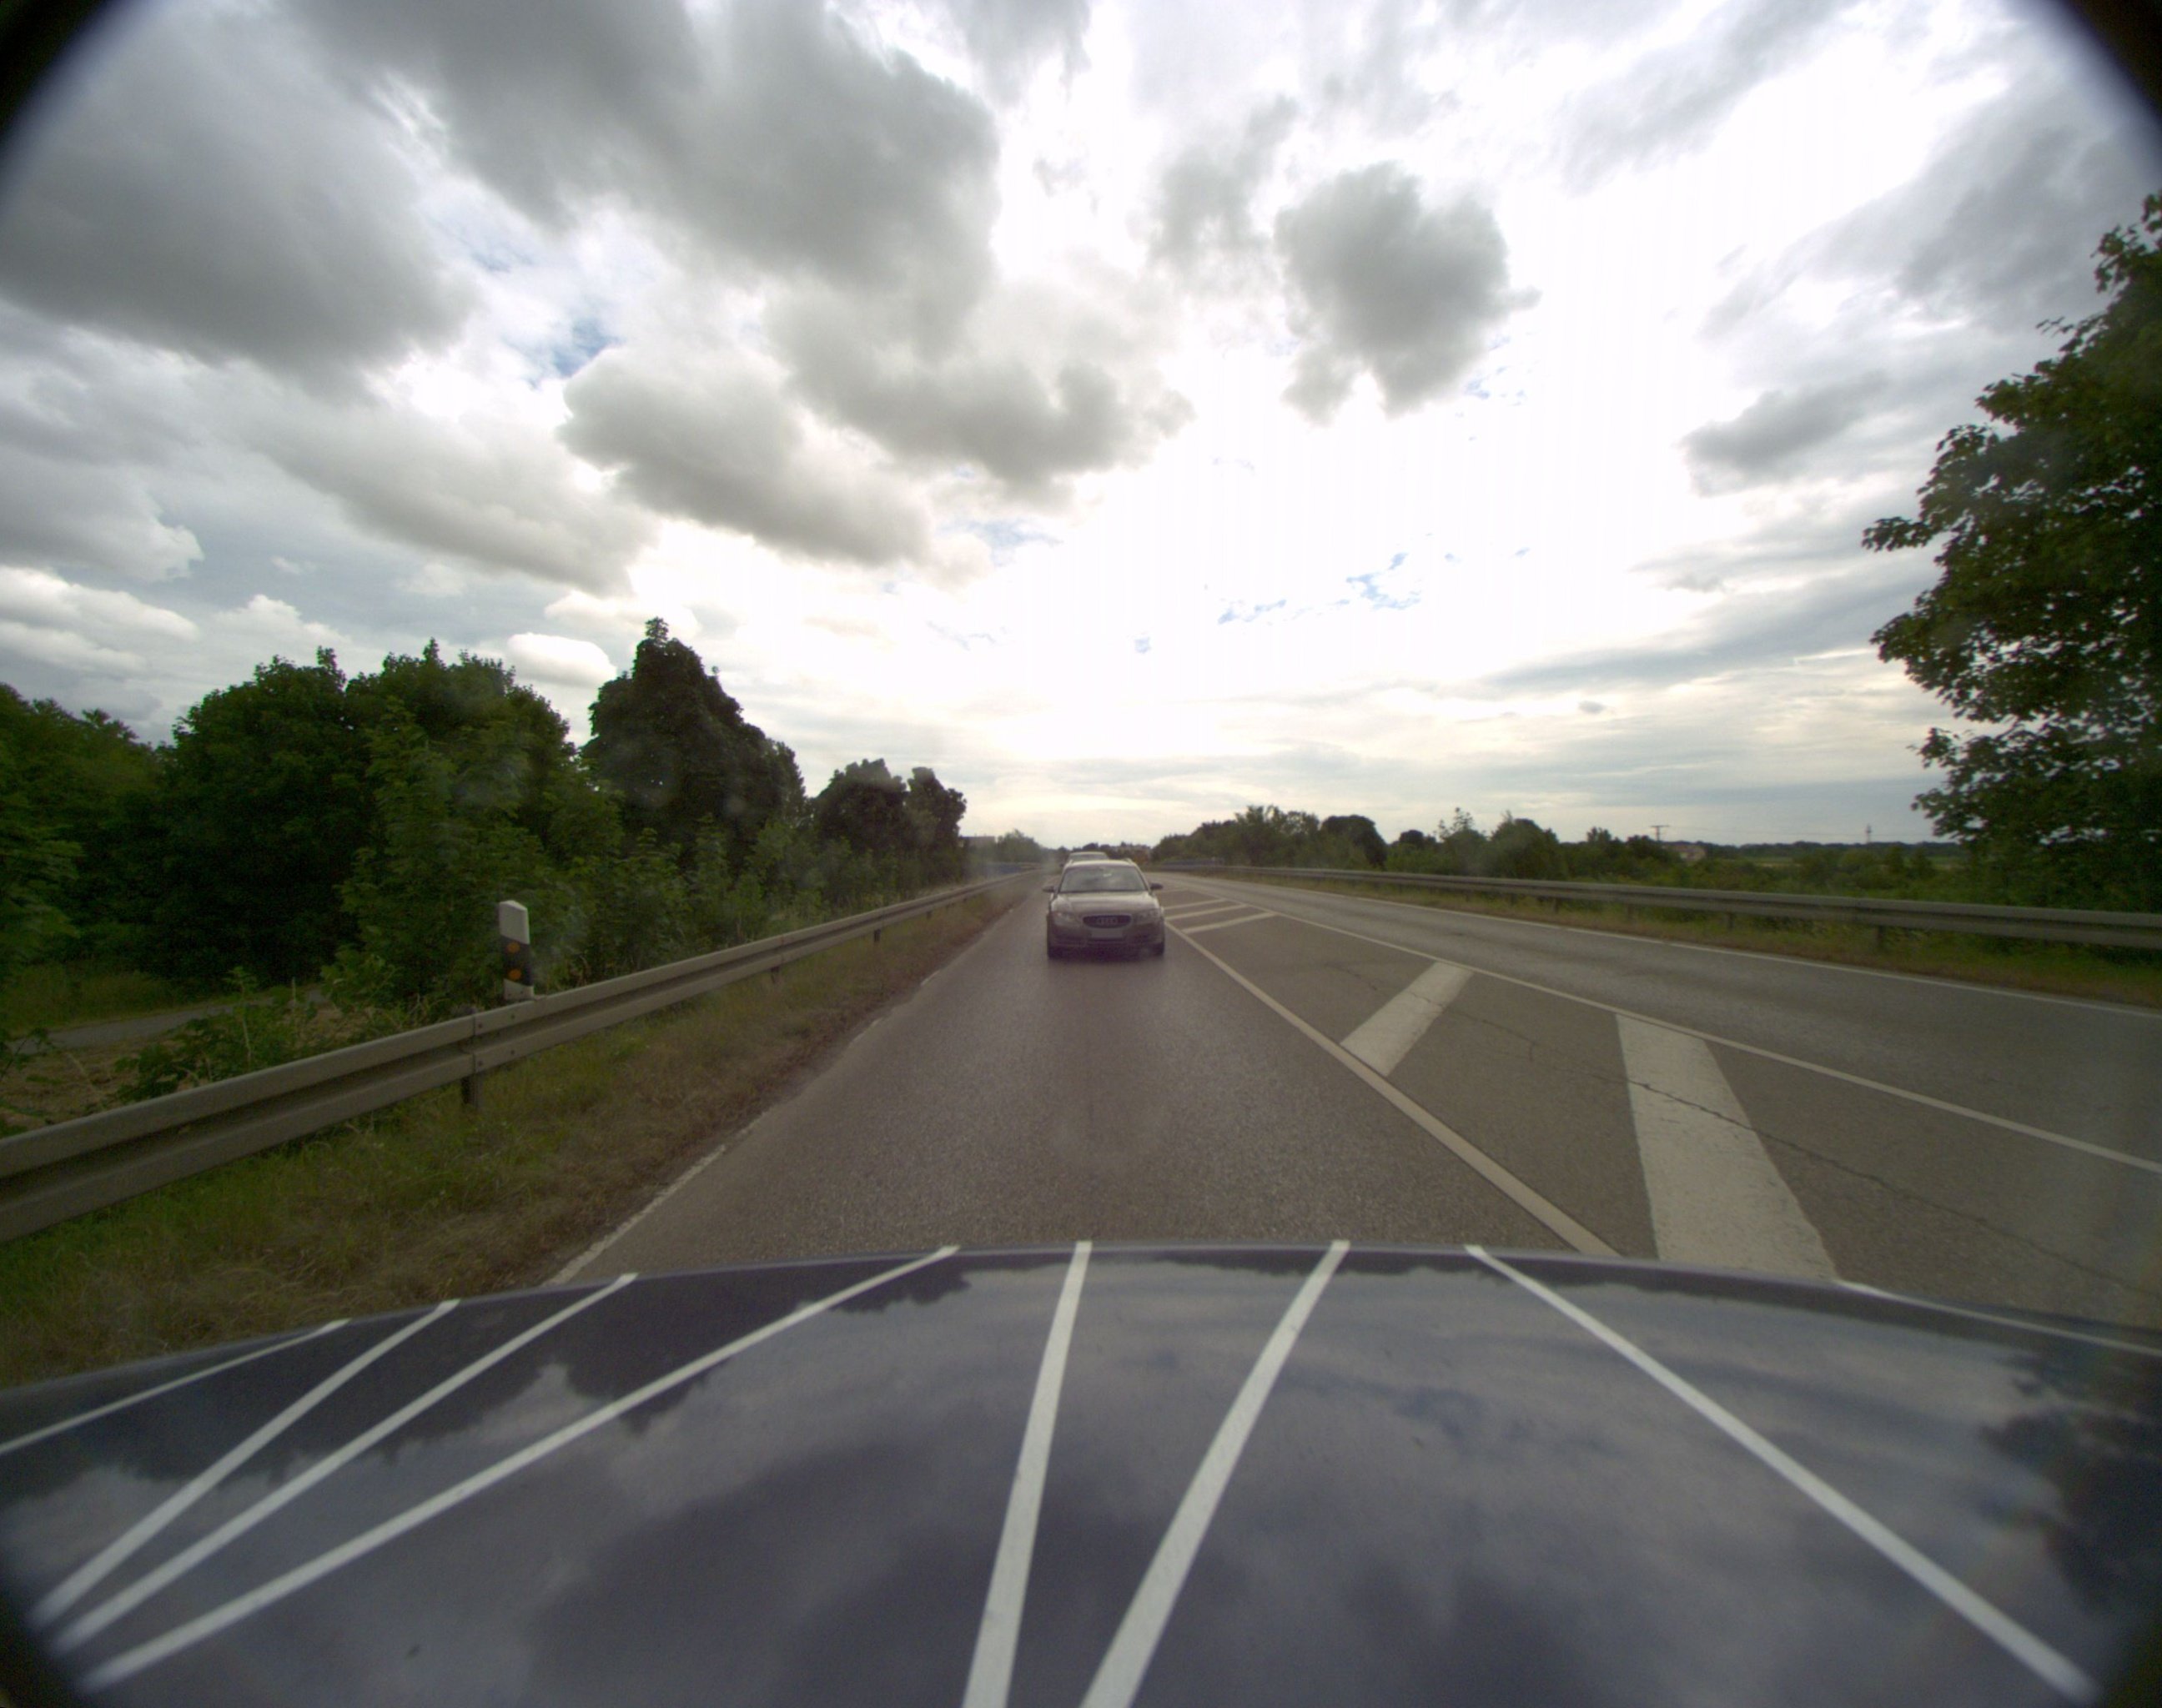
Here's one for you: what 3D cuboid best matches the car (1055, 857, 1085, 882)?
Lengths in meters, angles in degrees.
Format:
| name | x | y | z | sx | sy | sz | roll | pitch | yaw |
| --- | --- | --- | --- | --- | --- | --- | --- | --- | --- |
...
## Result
| name | x | y | z | sx | sy | sz | roll | pitch | yaw |
| --- | --- | --- | --- | --- | --- | --- | --- | --- | --- |
| car | -0.637 | 0.921 | 45.389 | 1.670 | 1.339 | 3.999 | -2 | 0 | -1 |

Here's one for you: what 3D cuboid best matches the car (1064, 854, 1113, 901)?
| name | x | y | z | sx | sy | sz | roll | pitch | yaw |
| --- | --- | --- | --- | --- | --- | --- | --- | --- | --- |
| car | 0.253 | 0.793 | 27.661 | 1.603 | 1.494 | 3.962 | -2 | 0 | 0 |

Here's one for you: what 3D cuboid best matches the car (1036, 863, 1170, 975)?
| name | x | y | z | sx | sy | sz | roll | pitch | yaw |
| --- | --- | --- | --- | --- | --- | --- | --- | --- | --- |
| car | 0.277 | 0.901 | 12.194 | 1.768 | 1.383 | 3.875 | -2 | 1 | -1 |
